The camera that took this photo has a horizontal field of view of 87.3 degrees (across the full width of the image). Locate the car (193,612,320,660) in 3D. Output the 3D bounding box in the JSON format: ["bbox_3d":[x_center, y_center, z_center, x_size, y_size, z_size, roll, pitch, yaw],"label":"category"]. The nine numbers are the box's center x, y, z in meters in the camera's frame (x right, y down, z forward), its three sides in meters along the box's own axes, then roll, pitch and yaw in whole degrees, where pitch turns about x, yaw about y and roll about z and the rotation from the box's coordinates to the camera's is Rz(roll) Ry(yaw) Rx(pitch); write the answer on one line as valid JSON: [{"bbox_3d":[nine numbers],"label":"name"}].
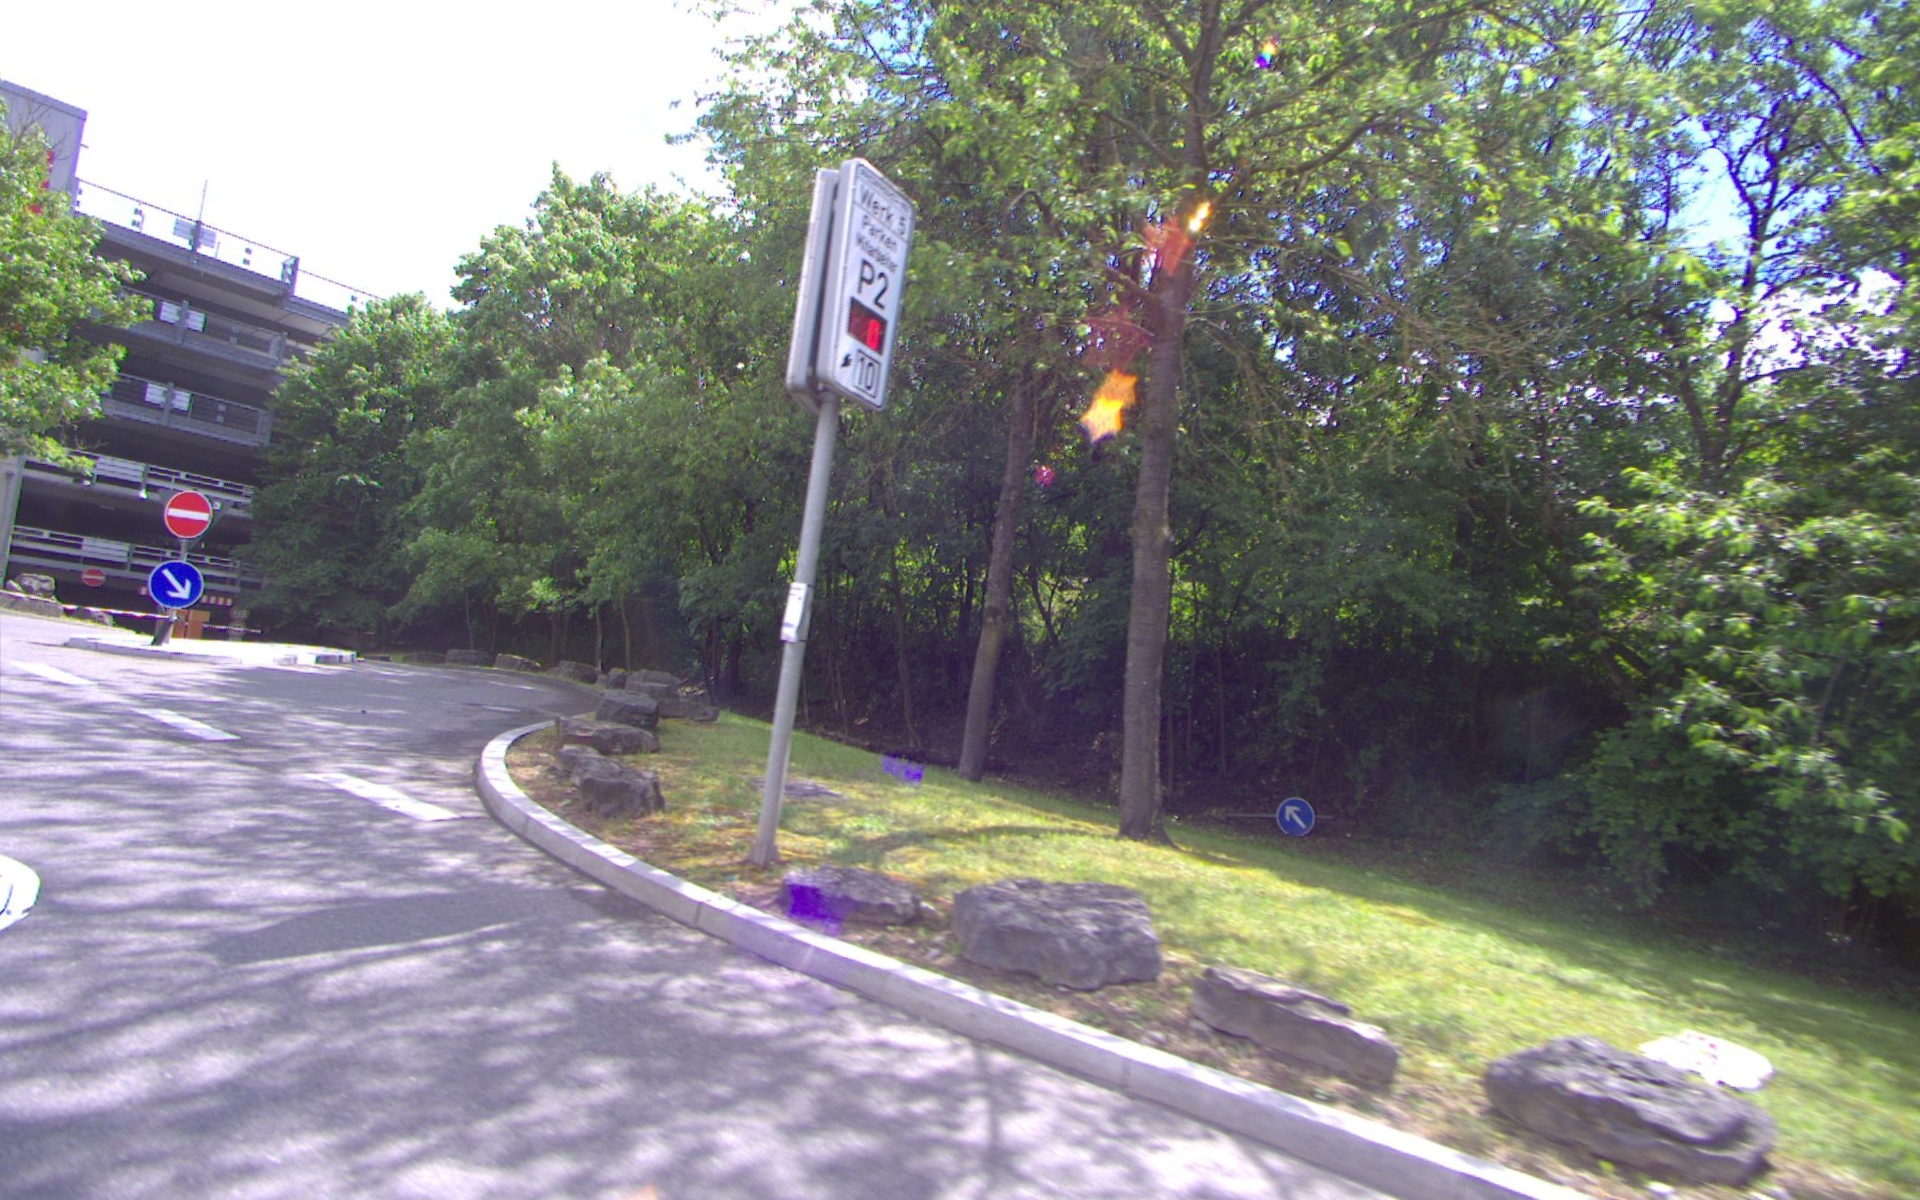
[{"bbox_3d":[-31.220,1.613,44.705,4.305,1.433,1.976,12,-4,-43],"label":"car"}]

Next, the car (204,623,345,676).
[{"bbox_3d":[-27.290,1.976,40.105,4.305,1.433,1.976,12,-4,-43],"label":"car"}]

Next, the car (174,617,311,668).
[{"bbox_3d":[-29.715,1.768,41.736,4.305,1.433,1.976,12,-4,-43],"label":"car"}]

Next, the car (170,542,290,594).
[{"bbox_3d":[-34.775,-1.513,47.971,4.305,1.648,1.976,12,-4,-43],"label":"car"}]

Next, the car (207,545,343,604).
[{"bbox_3d":[-28.500,-1.040,41.919,4.305,1.648,1.976,12,-4,-43],"label":"car"}]

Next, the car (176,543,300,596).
[{"bbox_3d":[-33.319,-1.397,46.509,4.305,1.648,1.976,12,-4,-43],"label":"car"}]

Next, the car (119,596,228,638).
[{"bbox_3d":[-41.851,0.934,53.586,4.305,1.505,1.976,12,-4,-43],"label":"car"}]

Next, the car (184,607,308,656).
[{"bbox_3d":[-32.699,1.462,46.122,4.305,1.505,1.976,12,-4,-43],"label":"car"}]

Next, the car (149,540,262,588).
[{"bbox_3d":[-38.311,-1.806,51.149,4.305,1.648,1.976,12,-4,-43],"label":"car"}]

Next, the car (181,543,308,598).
[{"bbox_3d":[-31.952,-1.296,44.992,4.305,1.648,1.976,12,-4,-43],"label":"car"}]

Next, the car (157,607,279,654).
[{"bbox_3d":[-34.783,1.433,47.227,4.305,1.505,1.976,12,-4,-43],"label":"car"}]

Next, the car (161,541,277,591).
[{"bbox_3d":[-36.628,-1.661,49.770,4.305,1.648,1.976,12,-4,-43],"label":"car"}]

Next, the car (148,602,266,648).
[{"bbox_3d":[-36.393,1.204,48.678,4.305,1.505,1.976,12,-4,-43],"label":"car"}]
